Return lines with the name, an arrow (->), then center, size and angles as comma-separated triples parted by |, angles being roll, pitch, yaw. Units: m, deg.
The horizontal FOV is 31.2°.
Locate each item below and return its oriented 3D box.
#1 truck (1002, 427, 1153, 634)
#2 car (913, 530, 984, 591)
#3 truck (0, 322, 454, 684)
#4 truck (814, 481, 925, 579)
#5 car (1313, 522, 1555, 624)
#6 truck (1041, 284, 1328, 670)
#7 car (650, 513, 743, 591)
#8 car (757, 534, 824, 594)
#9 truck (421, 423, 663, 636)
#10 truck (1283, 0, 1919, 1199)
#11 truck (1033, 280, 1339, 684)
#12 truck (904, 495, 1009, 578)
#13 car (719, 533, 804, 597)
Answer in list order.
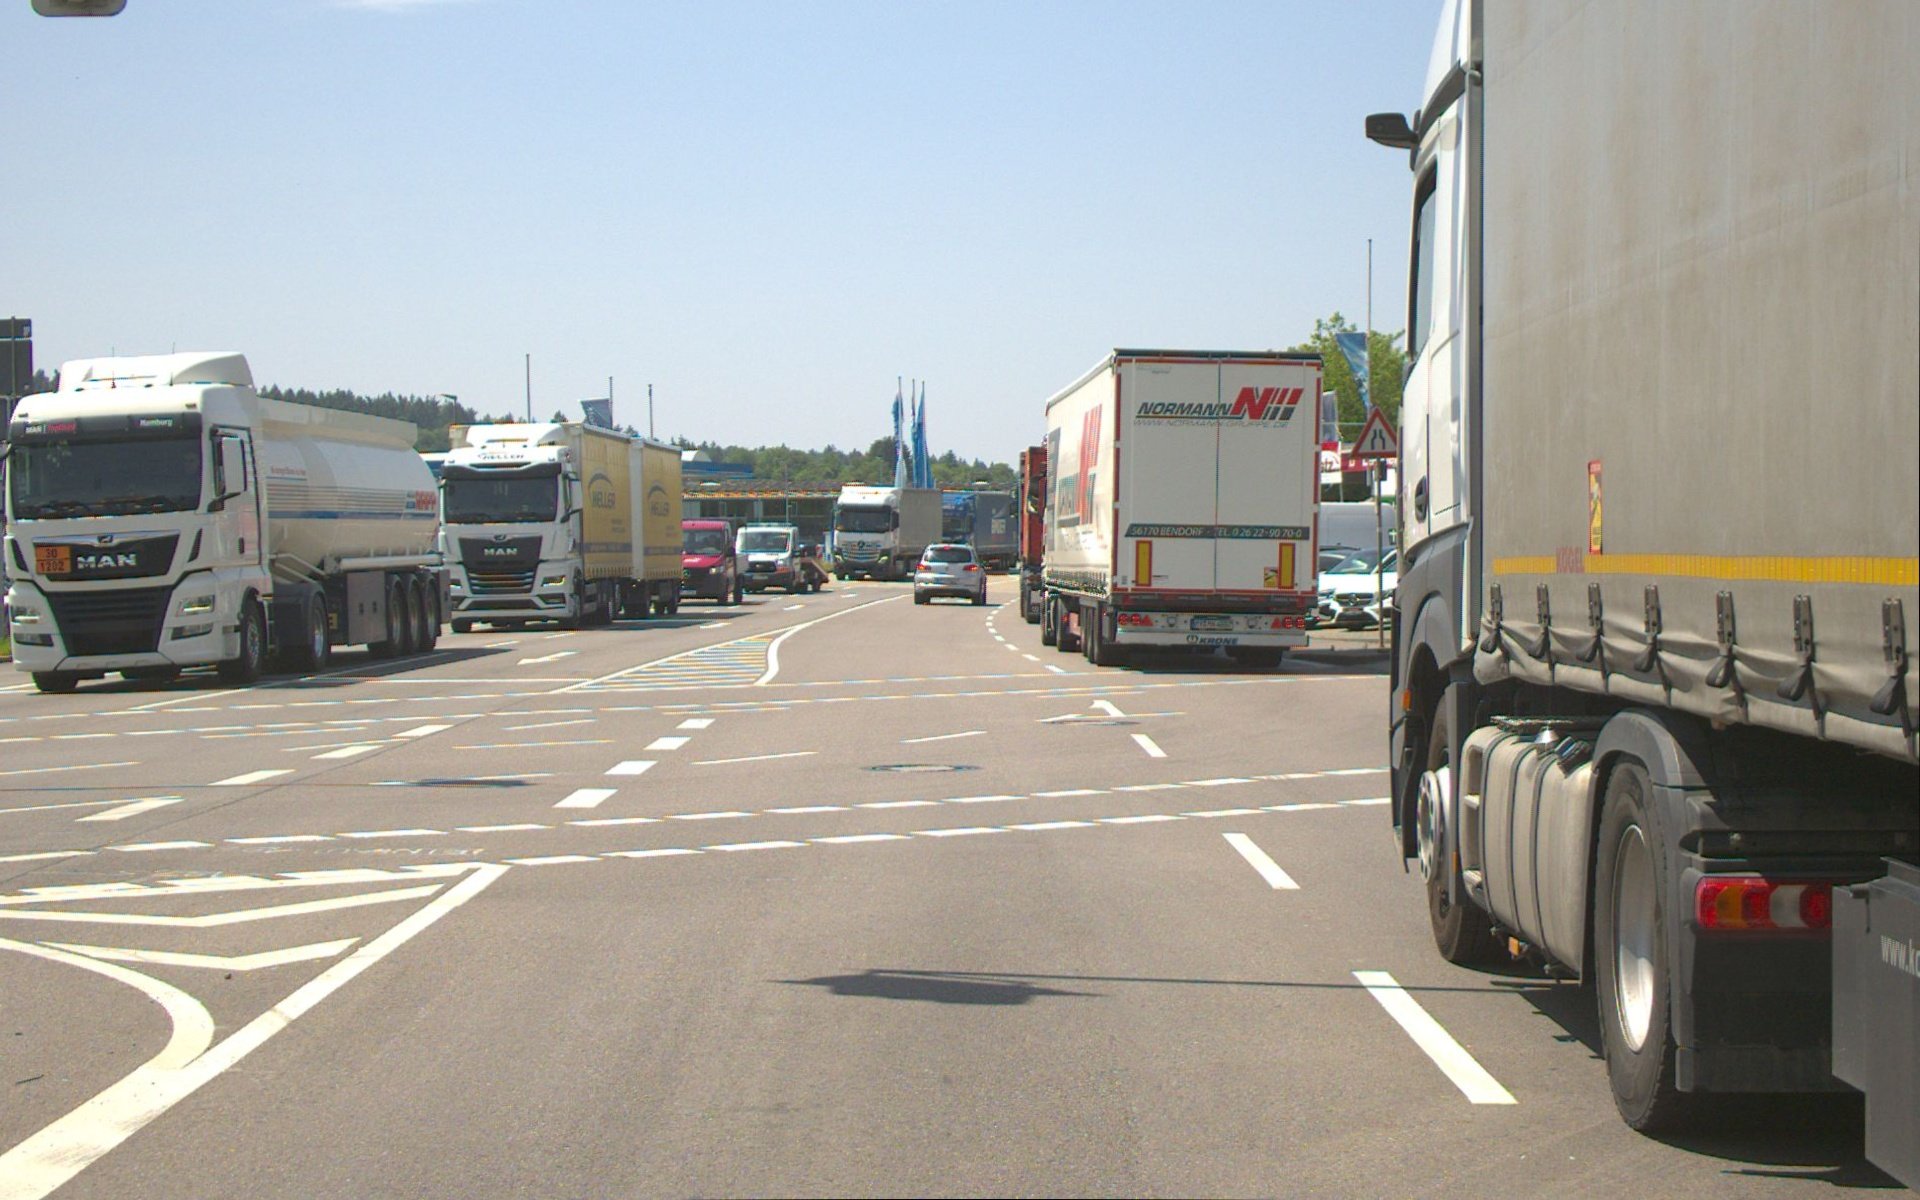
truck -> 2.639, -1.447, 82.724 | 2.875, 4.463, 16.655 | 0, 0, -1
car -> -0.305, -1.088, 95.403 | 1.805, 1.664, 4.291 | 0, 0, 2
truck -> -9.373, -1.175, 45.126 | 2.934, 3.936, 14.237 | -1, 1, 1
truck -> -3.859, -2.976, 151.177 | 3.271, 3.937, 13.861 | 0, 0, 5
car -> 8.689, -0.503, 63.193 | 3.986, 1.787, 2.000 | -1, 1, -8
truck -> 2.890, -1.422, 49.654 | 2.875, 4.623, 16.655 | 0, 0, -1
car -> -7.139, -1.282, 93.386 | 1.994, 2.007, 3.999 | 0, 0, 3
car -> -5.871, -1.228, 119.449 | 1.905, 2.007, 3.999 | 0, 0, 3
truck -> -8.472, -1.441, 71.663 | 2.934, 3.936, 13.865 | -1, 1, 1
truck -> 2.810, -0.652, 5.959 | 2.755, 4.623, 16.655 | 0, 0, -1
truck -> 2.896, -1.536, 49.093 | 2.934, 4.821, 14.873 | -1, 1, -1
truck -> -0.071, -3.195, 173.627 | 3.272, 3.936, 13.861 | -1, 1, 8
car -> -6.458, -1.158, 112.531 | 2.203, 2.007, 4.755 | -1, 1, 3
